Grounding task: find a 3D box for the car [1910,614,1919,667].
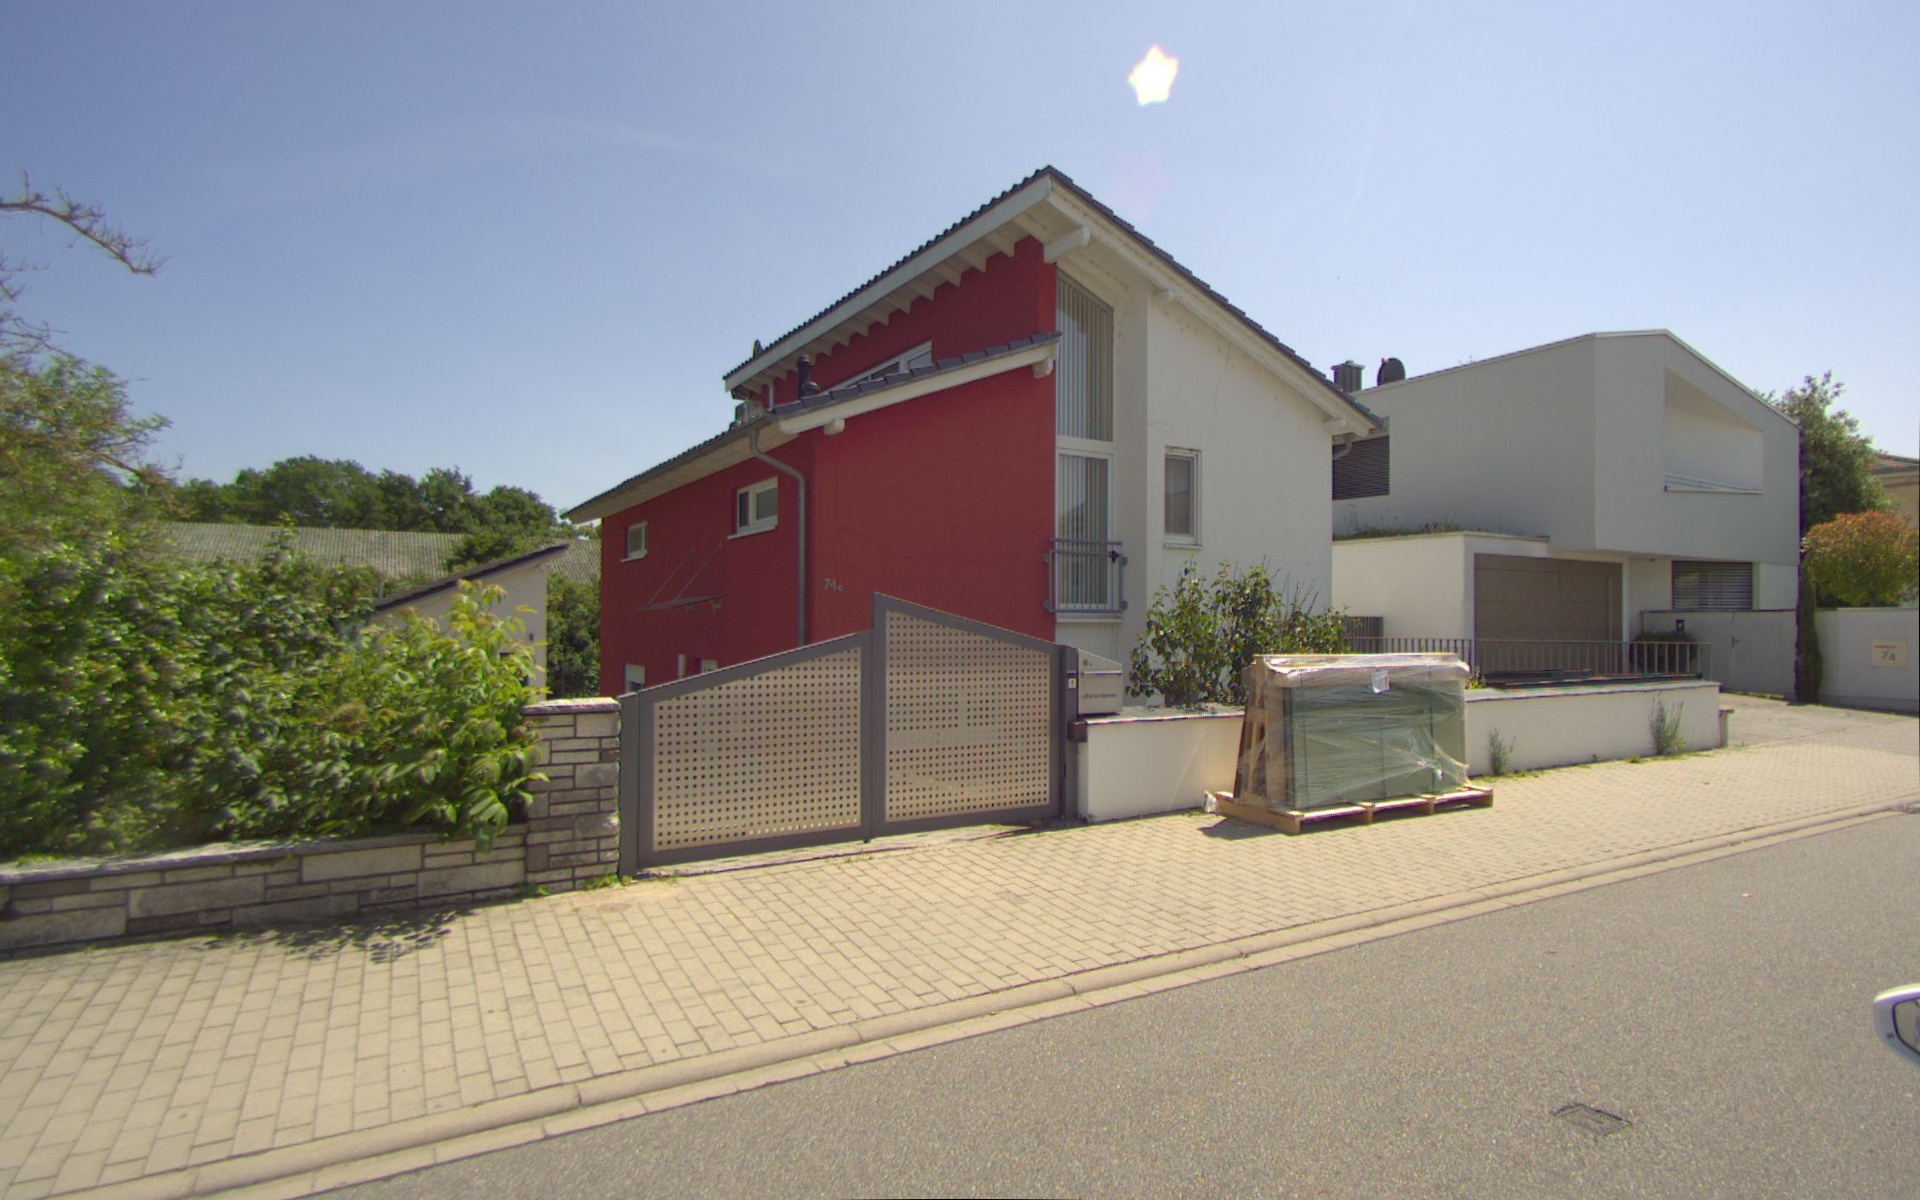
[{"bbox_3d":[28.798,1.229,26.960,1.826,1.493,4.412,1,2,-26],"label":"car"}]
